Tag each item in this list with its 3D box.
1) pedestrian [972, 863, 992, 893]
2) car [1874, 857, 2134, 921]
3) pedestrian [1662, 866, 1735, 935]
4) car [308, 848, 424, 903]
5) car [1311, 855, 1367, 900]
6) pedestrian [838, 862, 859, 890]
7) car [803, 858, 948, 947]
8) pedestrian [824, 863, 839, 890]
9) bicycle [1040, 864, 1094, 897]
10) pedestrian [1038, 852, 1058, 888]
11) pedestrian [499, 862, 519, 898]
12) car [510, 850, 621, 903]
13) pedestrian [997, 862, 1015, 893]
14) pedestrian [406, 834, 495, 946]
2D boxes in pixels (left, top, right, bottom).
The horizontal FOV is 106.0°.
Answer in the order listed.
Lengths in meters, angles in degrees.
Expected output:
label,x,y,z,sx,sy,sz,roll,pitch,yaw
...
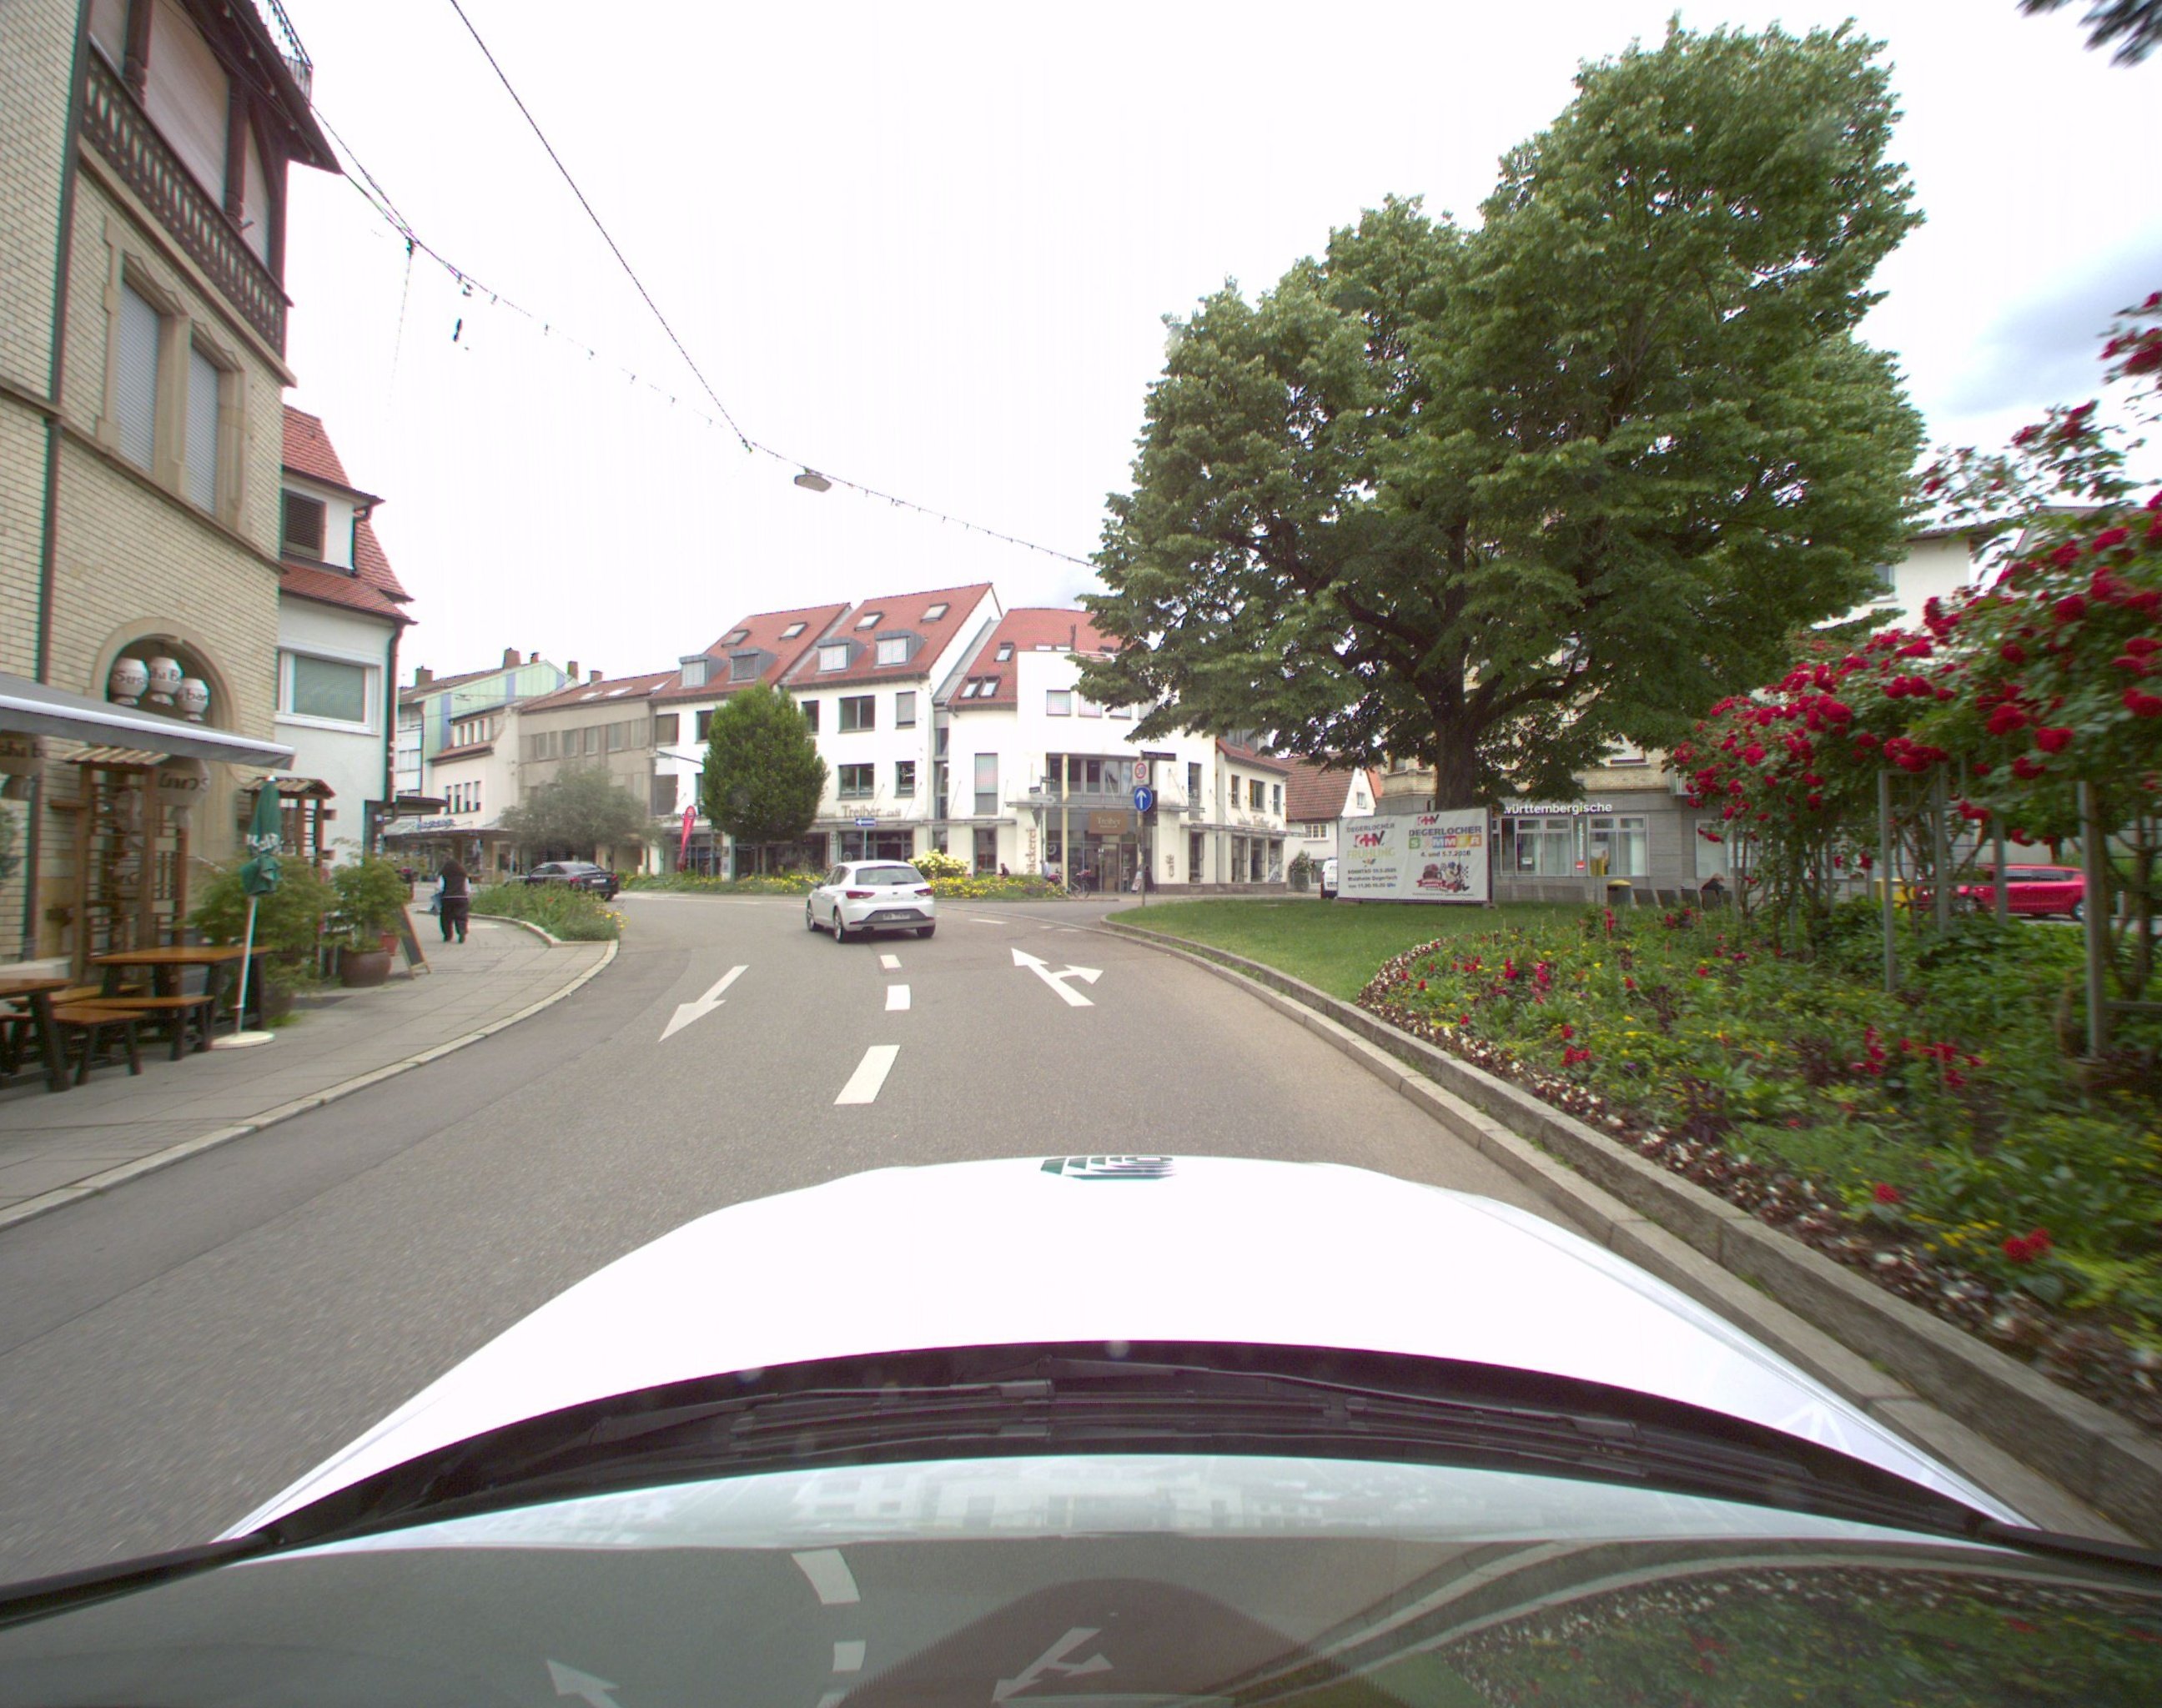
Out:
label,x,y,z,sx,sy,sz,roll,pitch,yaw
pedestrian,-4.387,1.062,36.114,0.696,1.332,0.686,0,-1,7
car,25.486,0.922,22.706,4.337,1.547,2.133,1,0,15
pedestrian,12.869,0.954,17.006,0.850,1.380,0.977,1,-1,7
car,-25.512,0.739,29.038,3.948,1.854,2.012,-1,-1,31
car,11.157,1.013,35.067,1.809,1.792,4.241,0,-1,24
pedestrian,-10.921,1.044,38.244,0.561,1.318,0.768,0,-3,20
car,-4.126,0.824,15.869,1.854,1.434,3.964,0,1,-28
pedestrian,-11.833,1.056,38.625,0.486,1.271,0.504,0,-1,20
bicycle,-0.540,1.033,31.782,1.957,1.240,0.748,0,-1,19
pedestrian,-1.416,0.703,34.978,0.696,1.525,0.869,0,-1,7
pedestrian,-31.891,1.458,45.439,0.627,2.014,0.674,-1,-1,25
car,-18.041,0.726,28.425,4.318,1.675,2.054,1,0,40
pedestrian,-3.299,1.047,35.886,0.651,1.341,0.697,0,-1,7
pedestrian,-11.871,0.644,15.342,1.001,2.014,1.113,0,-1,39
